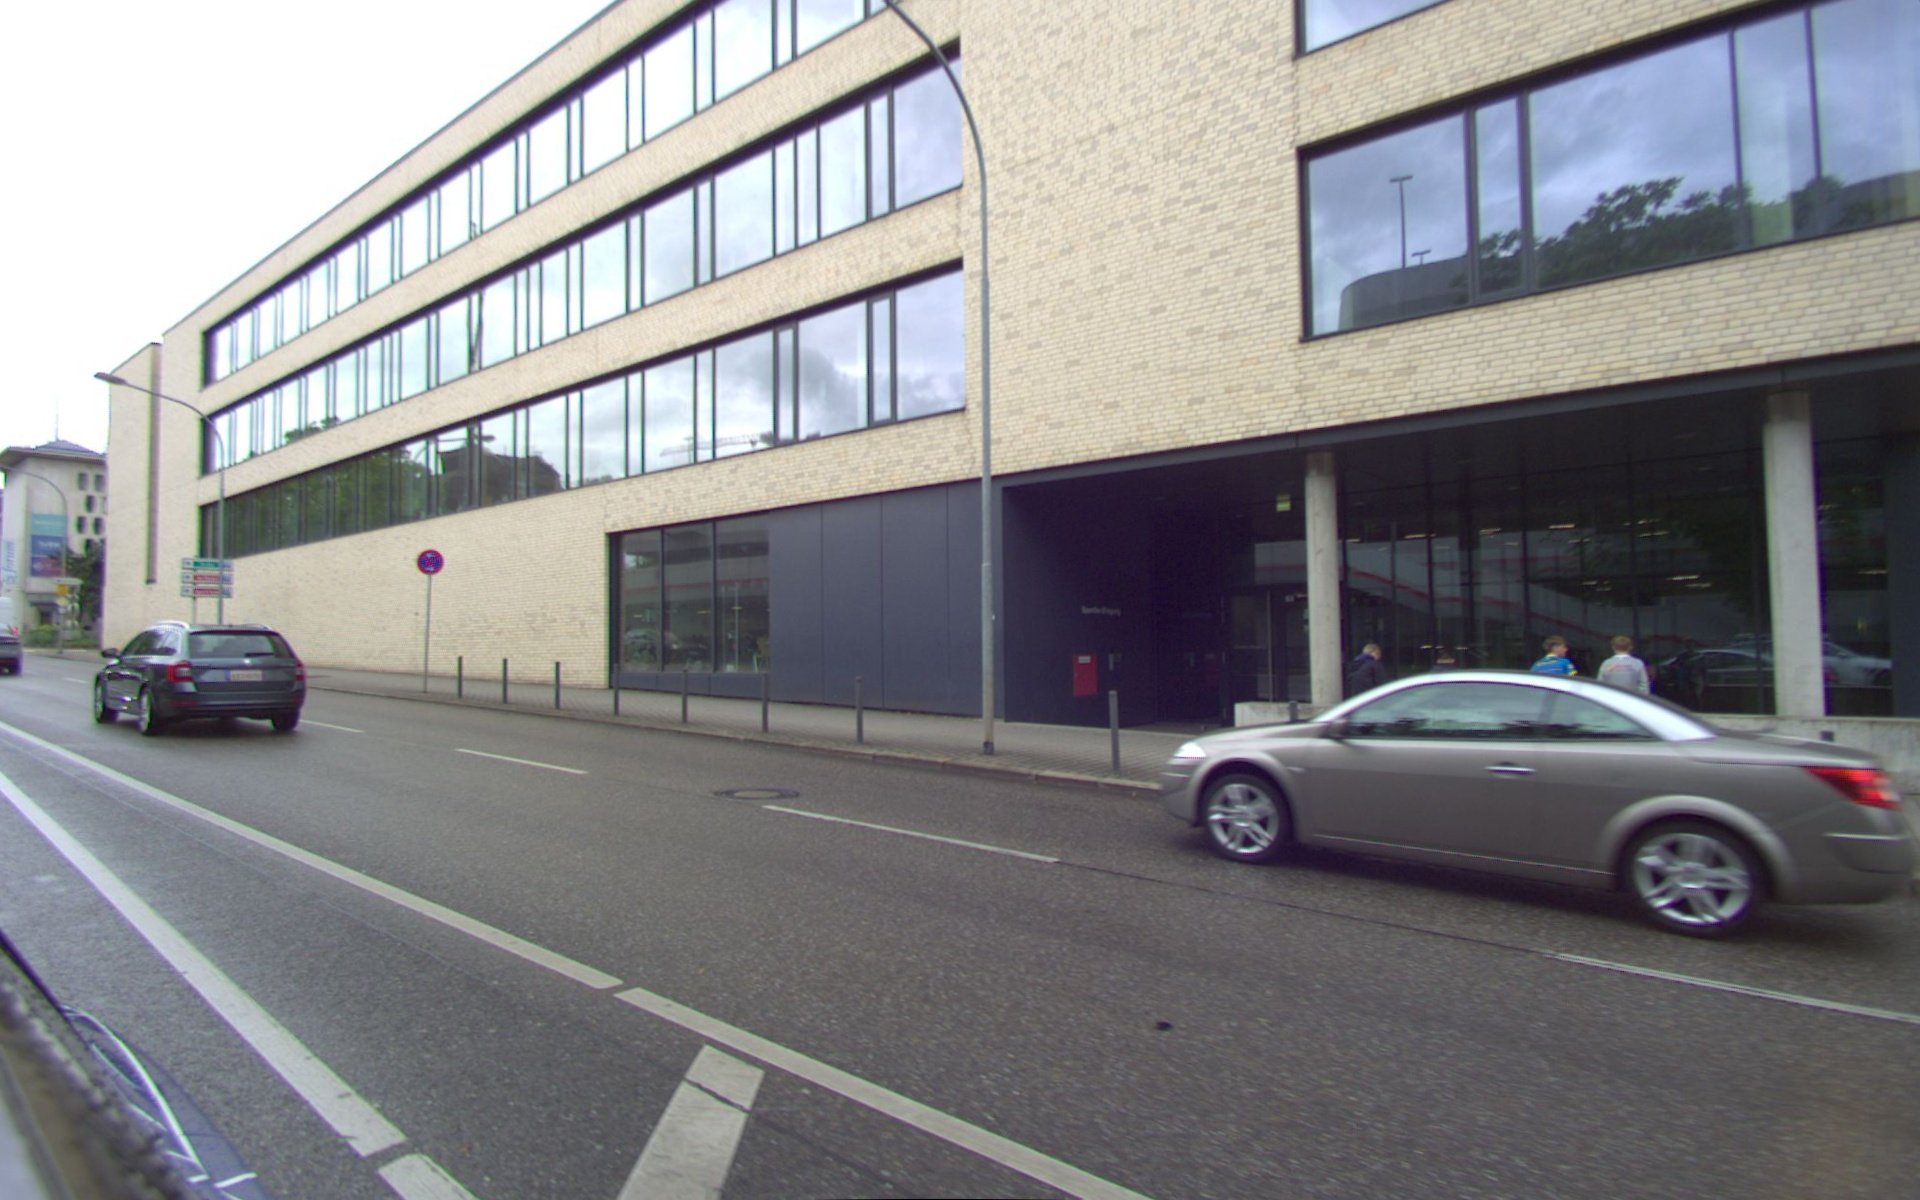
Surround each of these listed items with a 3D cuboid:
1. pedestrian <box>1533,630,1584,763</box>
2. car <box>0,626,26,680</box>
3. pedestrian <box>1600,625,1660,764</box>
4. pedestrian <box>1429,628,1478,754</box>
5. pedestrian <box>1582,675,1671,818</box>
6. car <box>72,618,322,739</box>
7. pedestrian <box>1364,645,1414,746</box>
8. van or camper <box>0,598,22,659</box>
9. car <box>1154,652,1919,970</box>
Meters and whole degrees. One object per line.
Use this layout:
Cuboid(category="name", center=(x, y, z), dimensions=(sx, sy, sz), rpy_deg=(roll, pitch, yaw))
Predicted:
Cuboid(category="pedestrian", center=(6.972, 1.104, 11.791), dimensions=(0.462, 1.486, 0.445), rpy_deg=(-1, 0, 36))
Cuboid(category="car", center=(-28.778, 1.486, 29.314), dimensions=(4.557, 1.509, 1.864), rpy_deg=(-1, -3, 39))
Cuboid(category="pedestrian", center=(7.491, 1.032, 11.316), dimensions=(0.527, 1.486, 0.437), rpy_deg=(-1, 0, 36))
Cuboid(category="pedestrian", center=(6.028, 1.091, 12.359), dimensions=(0.462, 1.486, 0.445), rpy_deg=(-1, 0, 36))
Cuboid(category="pedestrian", center=(8.611, 1.860, 13.089), dimensions=(0.626, 1.727, 0.706), rpy_deg=(-1, 0, -10))
Cuboid(category="car", center=(-10.975, 1.041, 14.454), dimensions=(4.283, 1.473, 1.794), rpy_deg=(-1, -4, 39))
Cuboid(category="pedestrian", center=(5.489, 1.205, 12.946), dimensions=(0.422, 1.224, 0.542), rpy_deg=(-1, 0, 44))
Cuboid(category="van or camper", center=(-43.675, 1.244, 44.730), dimensions=(5.897, 2.602, 2.083), rpy_deg=(-1, -3, 36))
Cuboid(category="car", center=(3.589, 1.094, 6.597), dimensions=(4.226, 1.399, 1.811), rpy_deg=(-1, -4, 39))
